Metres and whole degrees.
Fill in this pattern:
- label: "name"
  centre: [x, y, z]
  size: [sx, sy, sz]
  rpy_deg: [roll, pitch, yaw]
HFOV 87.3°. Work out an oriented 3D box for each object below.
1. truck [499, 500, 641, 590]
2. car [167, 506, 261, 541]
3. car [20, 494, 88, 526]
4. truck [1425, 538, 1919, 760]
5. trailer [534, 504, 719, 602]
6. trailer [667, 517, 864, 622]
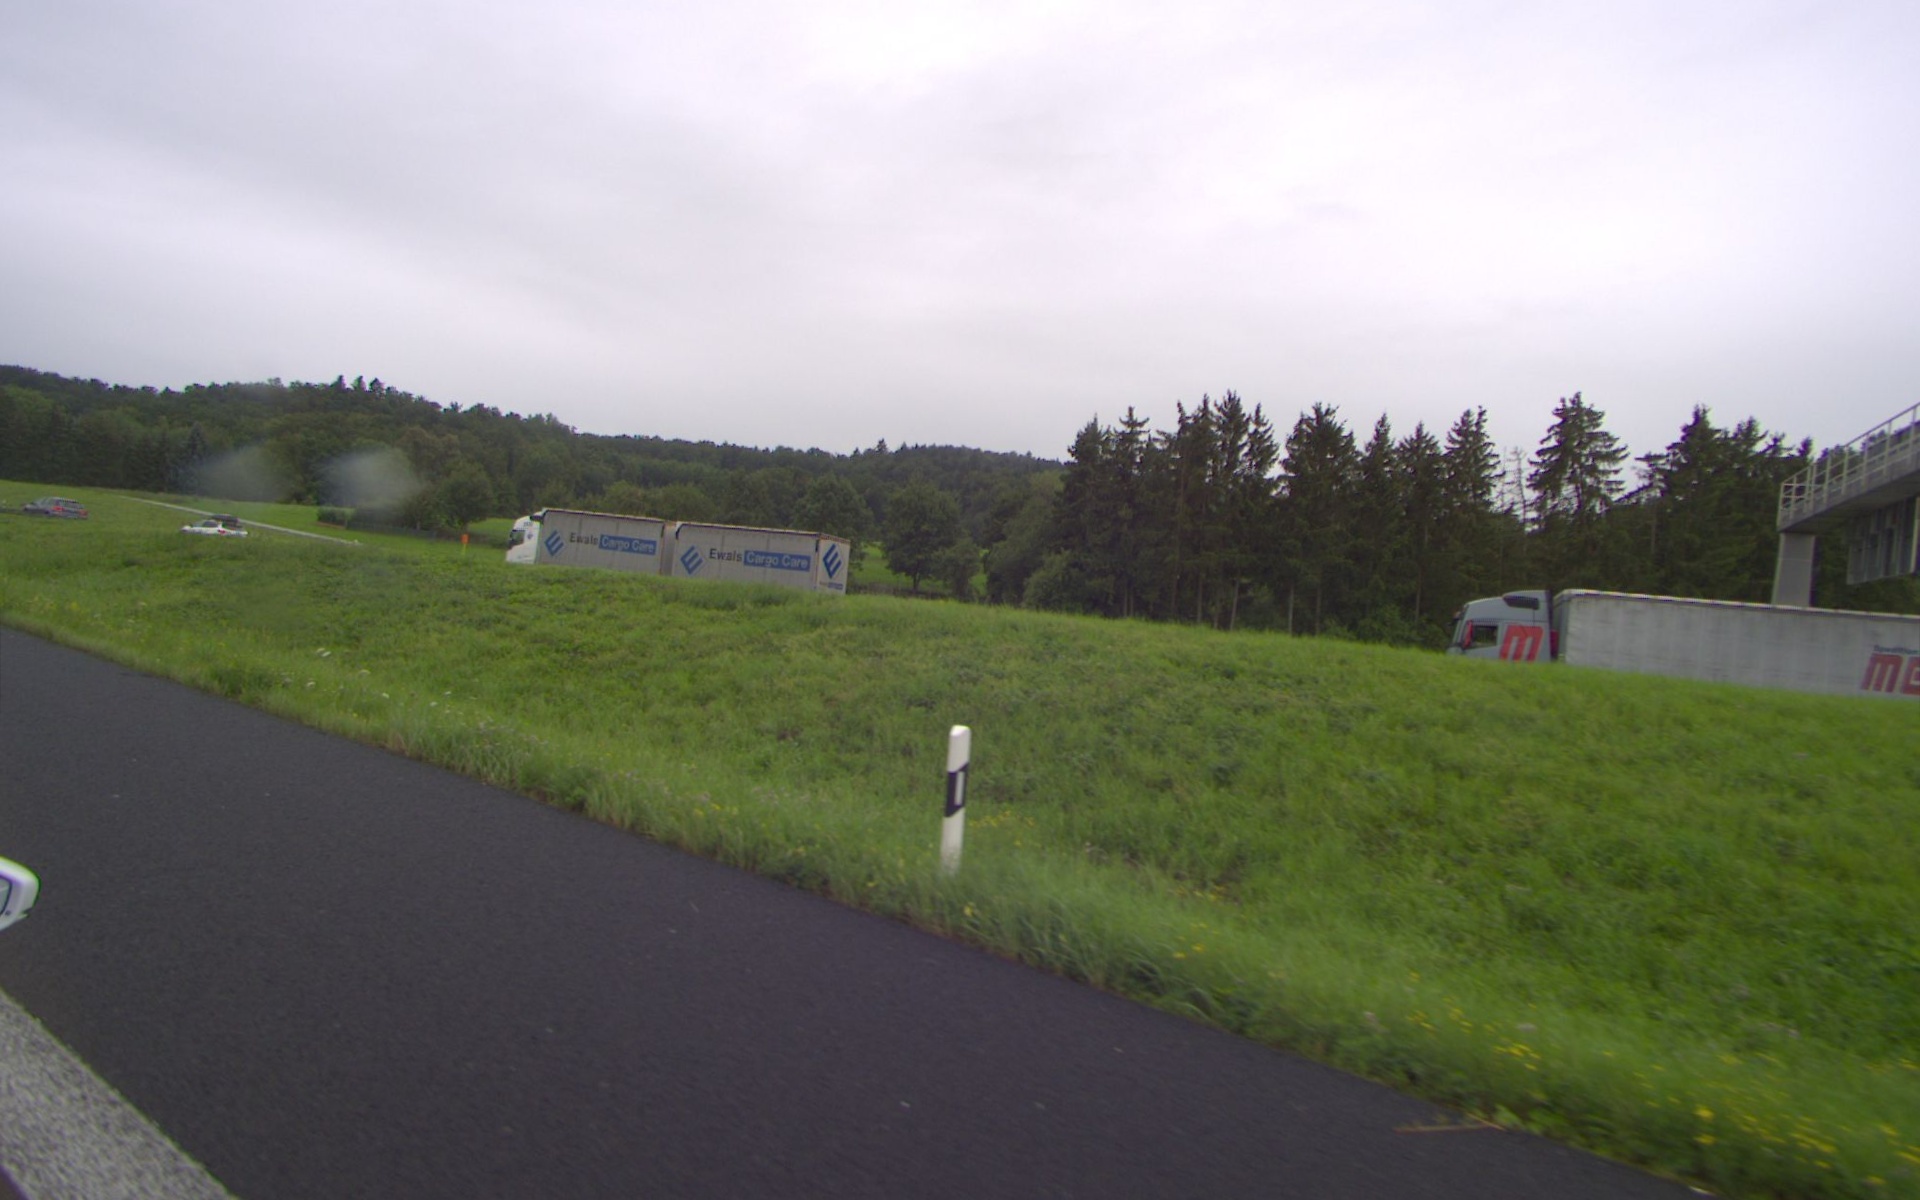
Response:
- label: "truck"
  centre: [-19.256, -2.736, 49.712]
  size: [5.821, 3.567, 2.948]
  rpy_deg: [7, -2, 25]
- label: "car"
  centre: [-42.543, -4.357, 57.377]
  size: [4.987, 1.393, 1.992]
  rpy_deg: [7, -1, 24]
- label: "car"
  centre: [-50.470, -5.039, 56.043]
  size: [3.472, 1.303, 1.544]
  rpy_deg: [7, -2, 26]
- label: "truck"
  centre: [22.005, 1.482, 27.379]
  size: [16.584, 4.595, 3.831]
  rpy_deg: [7, -1, 26]
- label: "trailer"
  centre: [-16.021, -2.270, 48.186]
  size: [8.268, 3.567, 2.948]
  rpy_deg: [7, -2, 25]
- label: "trailer"
  centre: [-8.680, -1.384, 44.778]
  size: [7.939, 3.567, 3.089]
  rpy_deg: [7, -2, 25]
